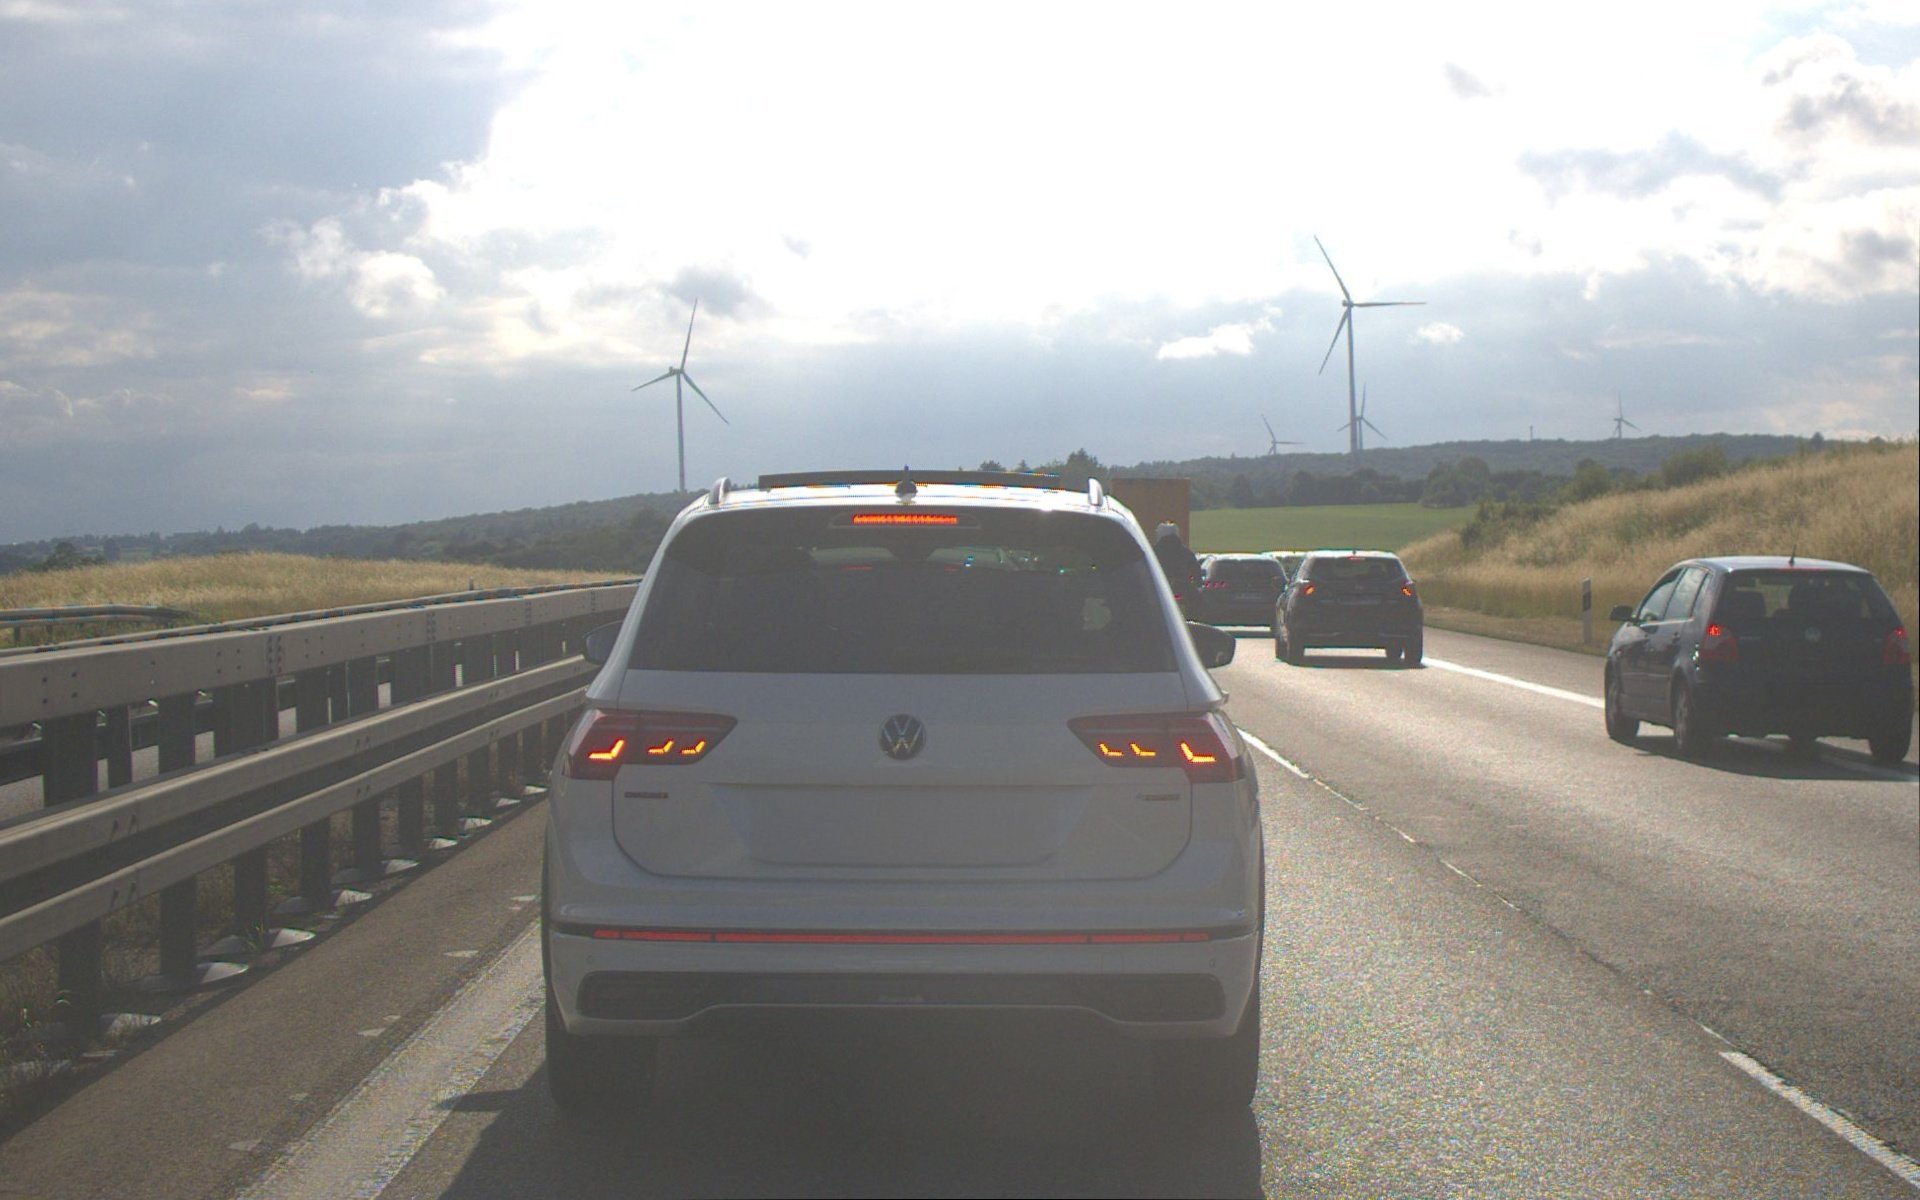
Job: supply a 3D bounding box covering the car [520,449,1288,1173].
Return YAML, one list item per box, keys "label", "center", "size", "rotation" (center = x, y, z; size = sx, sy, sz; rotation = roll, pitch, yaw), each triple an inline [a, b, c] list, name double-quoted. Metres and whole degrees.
- label: "car"
  center: [-0.147, 0.464, 9.930]
  size: [1.770, 1.670, 4.000]
  rotation: [0, 1, 0]

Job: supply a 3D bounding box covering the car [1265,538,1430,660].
- label: "car"
  center: [5.090, -0.039, 45.568]
  size: [1.704, 1.540, 4.000]
  rotation: [0, 1, 0]

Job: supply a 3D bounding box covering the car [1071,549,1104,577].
- label: "car"
  center: [7.167, -2.091, 193.521]
  size: [1.704, 1.540, 4.000]
  rotation: [0, 1, 0]

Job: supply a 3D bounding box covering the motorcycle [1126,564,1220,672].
- label: "motorcycle"
  center: [2.403, 0.185, 39.031]
  size: [0.895, 1.186, 2.257]
  rotation: [0, 1, -1]

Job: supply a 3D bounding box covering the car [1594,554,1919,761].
- label: "car"
  center: [5.828, 0.372, 25.448]
  size: [1.605, 1.415, 3.672]
  rotation: [0, 1, 0]

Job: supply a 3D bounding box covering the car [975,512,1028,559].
- label: "car"
  center: [1.394, -2.171, 116.180]
  size: [1.704, 1.540, 4.000]
  rotation: [0, 1, 0]

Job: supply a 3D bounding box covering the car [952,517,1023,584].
- label: "car"
  center: [0.665, -1.231, 86.223]
  size: [1.704, 1.644, 4.000]
  rotation: [0, 1, 0]

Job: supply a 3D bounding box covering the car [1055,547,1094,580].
- label: "car"
  center: [5.399, -1.726, 162.720]
  size: [1.704, 1.540, 4.000]
  rotation: [0, 1, 0]

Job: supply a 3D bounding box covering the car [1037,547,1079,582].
- label: "car"
  center: [4.289, -1.568, 151.158]
  size: [1.704, 1.540, 4.000]
  rotation: [0, 1, 0]

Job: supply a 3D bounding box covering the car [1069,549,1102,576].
- label: "car"
  center: [7.299, -2.167, 200.010]
  size: [1.704, 1.540, 4.000]
  rotation: [0, 1, 0]

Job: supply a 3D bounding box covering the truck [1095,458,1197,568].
- label: "truck"
  center: [6.280, -2.977, 117.686]
  size: [3.184, 3.581, 11.130]
  rotation: [0, 1, 1]

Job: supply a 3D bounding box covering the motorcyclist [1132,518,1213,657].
- label: "motorcyclist"
  center: [2.406, -0.144, 38.984]
  size: [0.849, 1.554, 0.934]
  rotation: [0, 1, -1]

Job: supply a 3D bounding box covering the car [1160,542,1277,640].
- label: "car"
  center: [4.474, -0.173, 60.030]
  size: [1.704, 1.644, 4.000]
  rotation: [0, 1, 0]
